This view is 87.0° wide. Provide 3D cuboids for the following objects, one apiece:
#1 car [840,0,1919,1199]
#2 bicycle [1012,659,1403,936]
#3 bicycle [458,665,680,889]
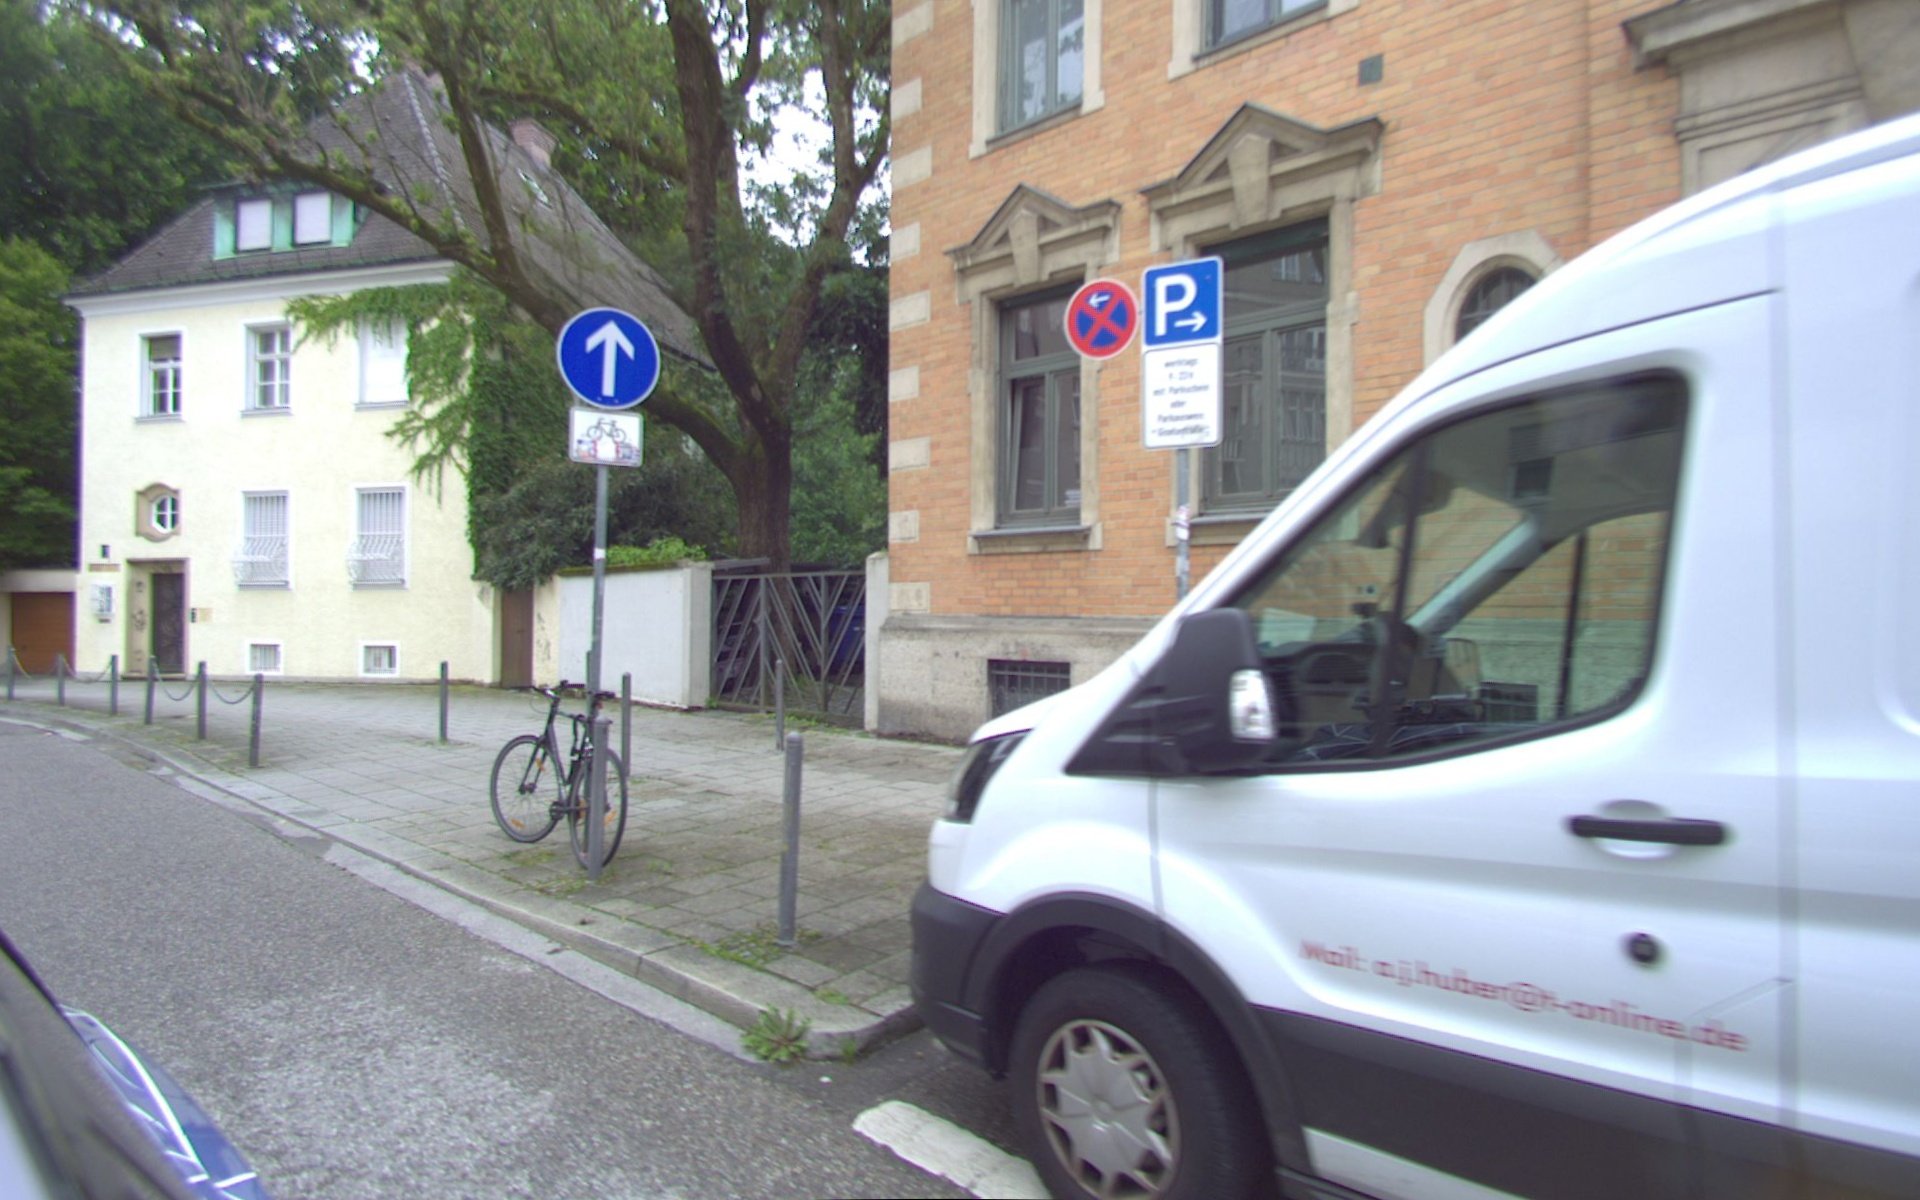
[{"bbox_3d":[2.364,0.228,1.852,5.470,2.487,1.971,0,-3,42],"label":"car"},{"bbox_3d":[1.151,0.871,5.088,0.573,1.062,1.896,0,0,-44],"label":"bicycle"},{"bbox_3d":[-2.369,0.958,6.014,0.573,1.062,1.764,2,-2,-44],"label":"bicycle"}]
